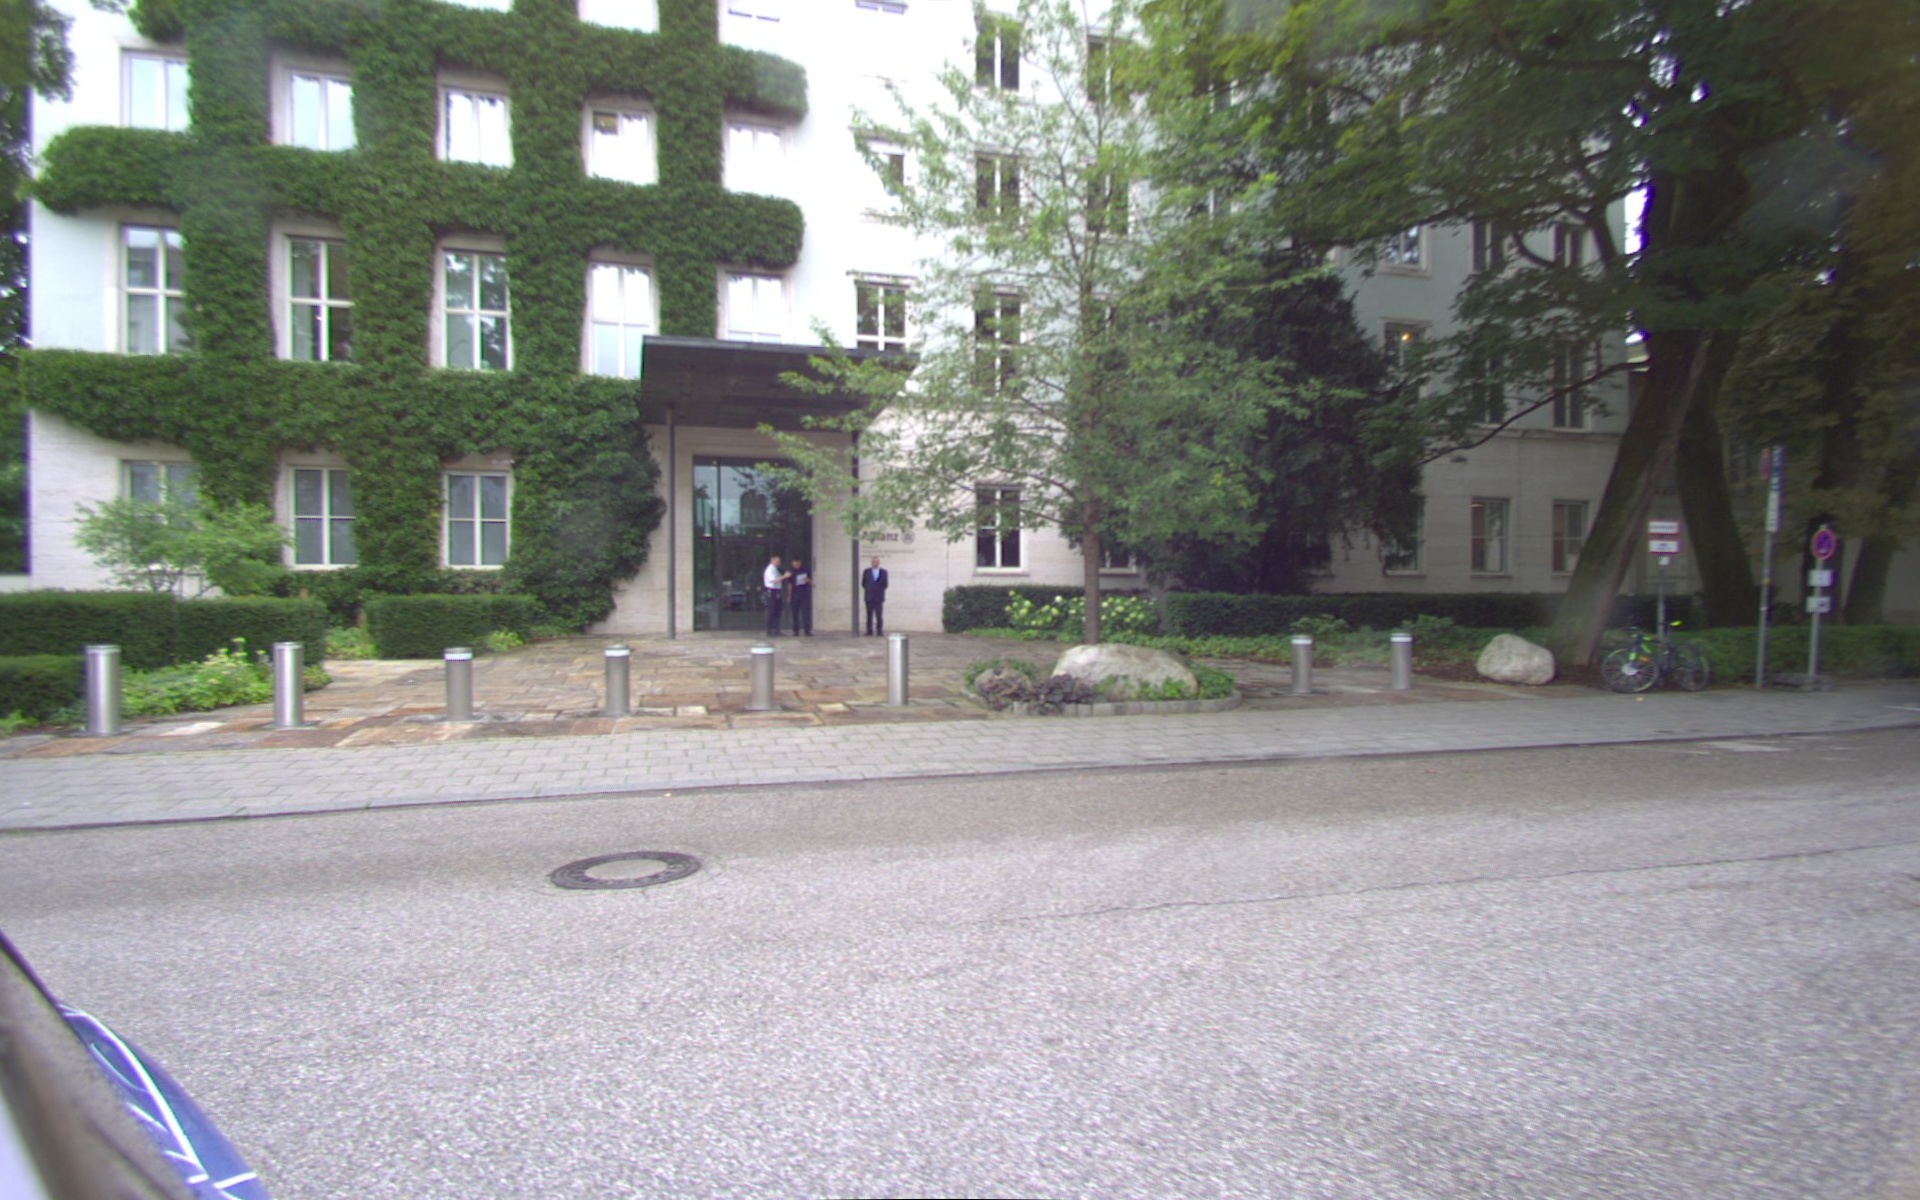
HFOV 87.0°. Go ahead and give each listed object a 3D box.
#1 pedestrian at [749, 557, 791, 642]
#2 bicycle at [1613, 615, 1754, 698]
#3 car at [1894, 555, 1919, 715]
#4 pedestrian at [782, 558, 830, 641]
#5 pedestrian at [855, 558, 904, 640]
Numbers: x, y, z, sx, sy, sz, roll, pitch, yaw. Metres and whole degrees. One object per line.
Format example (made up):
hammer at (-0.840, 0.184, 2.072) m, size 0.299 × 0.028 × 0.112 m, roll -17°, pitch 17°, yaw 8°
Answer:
pedestrian at (-4.054, -0.018, 21.597) m, size 0.739 × 1.766 × 0.904 m, roll 0°, pitch 0°, yaw -20°
bicycle at (10.236, 0.779, 14.327) m, size 1.737 × 1.111 × 0.636 m, roll 0°, pitch 1°, yaw -14°
car at (14.593, 0.440, 12.461) m, size 5.359 × 1.971 × 2.262 m, roll 0°, pitch 1°, yaw -19°
pedestrian at (-3.367, -0.006, 22.088) m, size 0.885 × 1.766 × 0.755 m, roll 1°, pitch -1°, yaw -21°
pedestrian at (-1.793, -0.010, 22.410) m, size 0.885 × 1.766 × 0.755 m, roll 1°, pitch -1°, yaw -21°
